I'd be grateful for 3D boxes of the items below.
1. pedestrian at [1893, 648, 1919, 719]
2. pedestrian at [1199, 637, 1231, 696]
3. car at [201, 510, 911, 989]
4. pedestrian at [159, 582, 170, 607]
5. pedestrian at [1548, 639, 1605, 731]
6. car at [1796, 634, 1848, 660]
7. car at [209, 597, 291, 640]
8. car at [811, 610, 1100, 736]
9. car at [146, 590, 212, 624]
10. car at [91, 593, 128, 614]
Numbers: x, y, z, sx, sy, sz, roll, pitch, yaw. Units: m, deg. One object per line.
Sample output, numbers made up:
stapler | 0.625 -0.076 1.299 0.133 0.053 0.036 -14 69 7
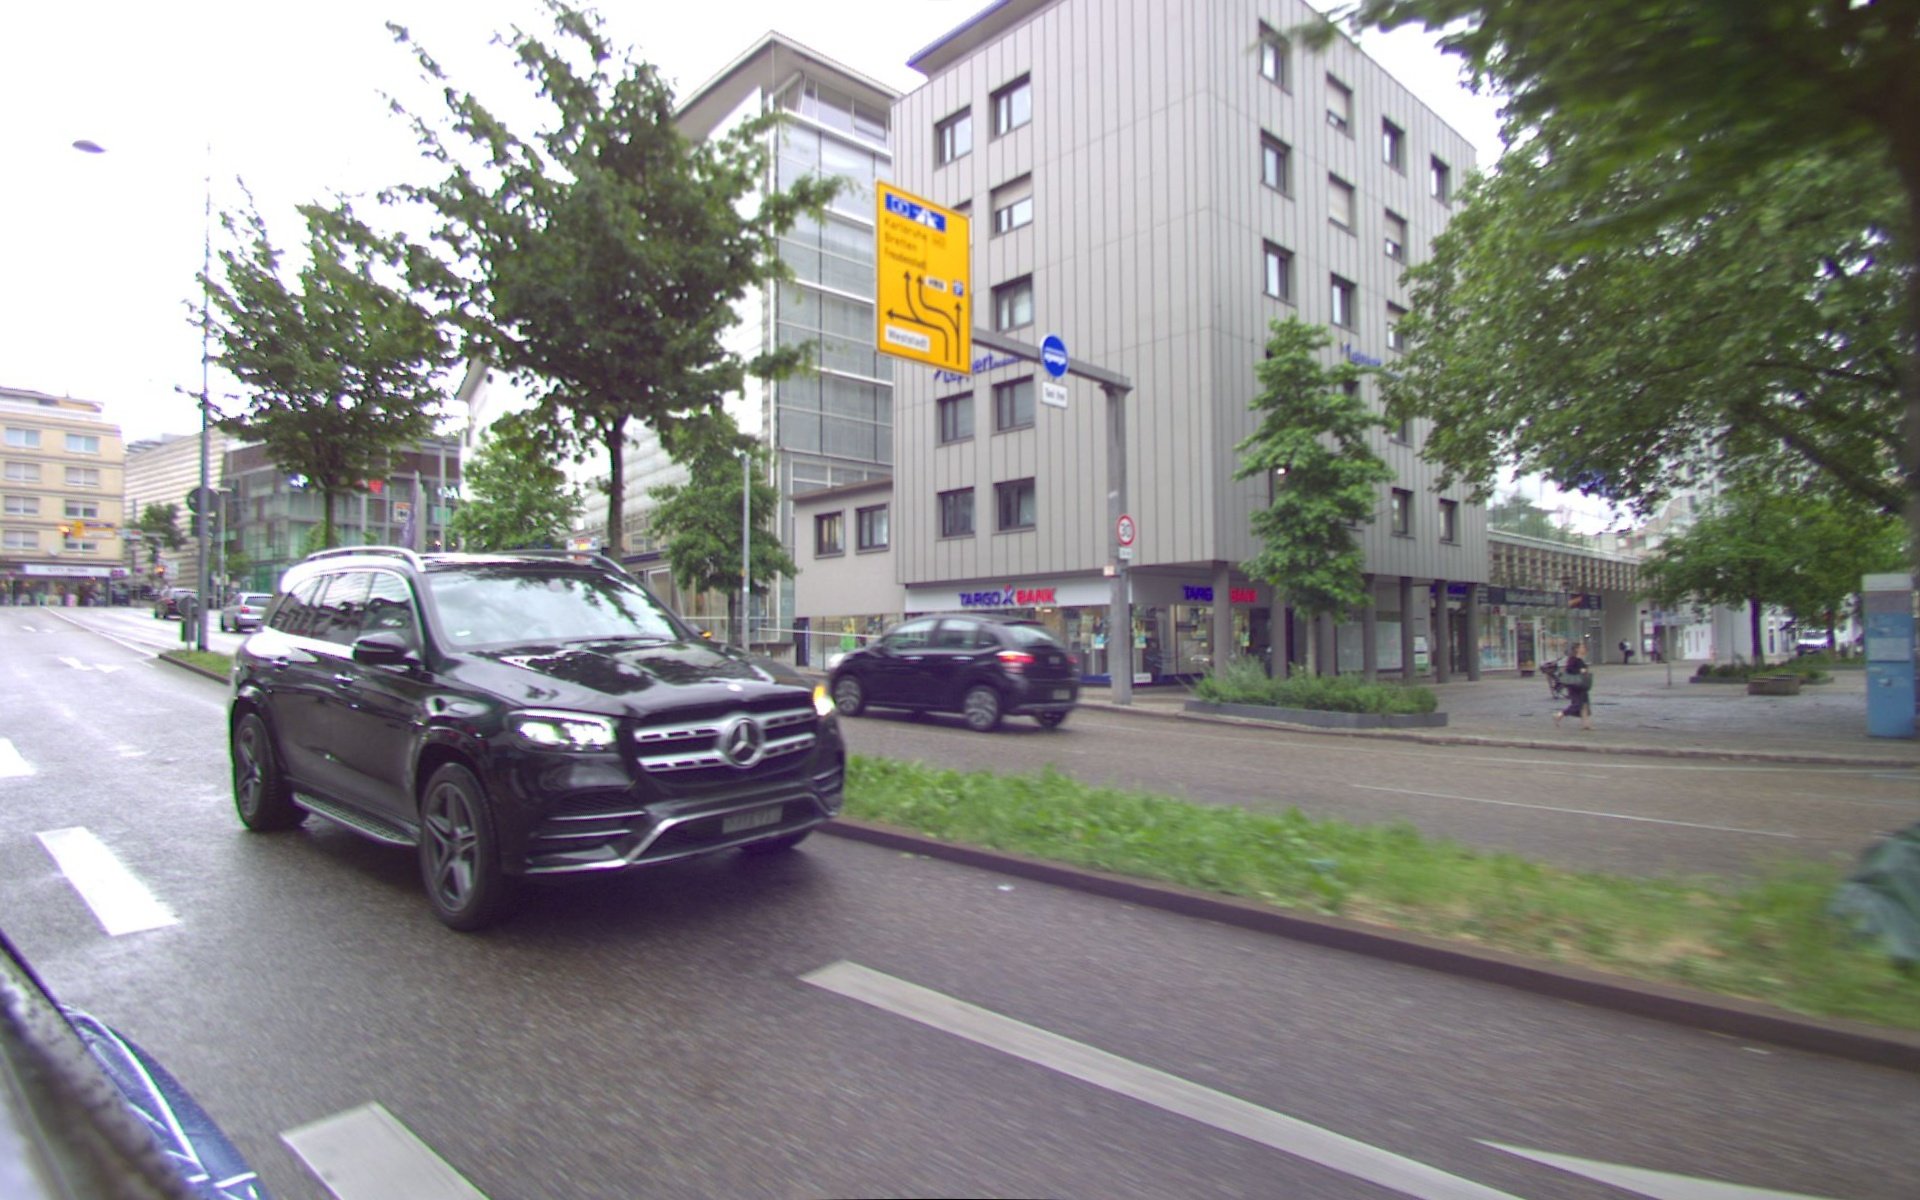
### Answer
pedestrian | 19.472 1.693 20.550 0.540 1.417 0.527 1 -4 -23
pedestrian | 7.436 1.932 29.505 0.613 1.669 0.633 2 -1 -43
car | -2.739 0.515 6.123 4.883 1.791 1.973 1 1 41
pedestrian | -61.184 -0.429 77.832 0.588 1.855 0.598 1 1 41
pedestrian | 11.146 1.529 18.296 0.700 1.619 0.670 -4 -5 42
car | 63.713 3.457 74.777 3.746 1.763 1.922 1 0 -33
car | -26.135 0.658 37.214 3.645 1.448 1.608 1 -1 41
car | -0.154 0.952 13.985 3.877 1.503 1.601 -1 -4 41
car | -37.954 0.326 49.164 4.187 1.520 1.971 1 -1 44
car | -87.349 0.318 103.907 3.991 2.029 1.977 1 1 35
